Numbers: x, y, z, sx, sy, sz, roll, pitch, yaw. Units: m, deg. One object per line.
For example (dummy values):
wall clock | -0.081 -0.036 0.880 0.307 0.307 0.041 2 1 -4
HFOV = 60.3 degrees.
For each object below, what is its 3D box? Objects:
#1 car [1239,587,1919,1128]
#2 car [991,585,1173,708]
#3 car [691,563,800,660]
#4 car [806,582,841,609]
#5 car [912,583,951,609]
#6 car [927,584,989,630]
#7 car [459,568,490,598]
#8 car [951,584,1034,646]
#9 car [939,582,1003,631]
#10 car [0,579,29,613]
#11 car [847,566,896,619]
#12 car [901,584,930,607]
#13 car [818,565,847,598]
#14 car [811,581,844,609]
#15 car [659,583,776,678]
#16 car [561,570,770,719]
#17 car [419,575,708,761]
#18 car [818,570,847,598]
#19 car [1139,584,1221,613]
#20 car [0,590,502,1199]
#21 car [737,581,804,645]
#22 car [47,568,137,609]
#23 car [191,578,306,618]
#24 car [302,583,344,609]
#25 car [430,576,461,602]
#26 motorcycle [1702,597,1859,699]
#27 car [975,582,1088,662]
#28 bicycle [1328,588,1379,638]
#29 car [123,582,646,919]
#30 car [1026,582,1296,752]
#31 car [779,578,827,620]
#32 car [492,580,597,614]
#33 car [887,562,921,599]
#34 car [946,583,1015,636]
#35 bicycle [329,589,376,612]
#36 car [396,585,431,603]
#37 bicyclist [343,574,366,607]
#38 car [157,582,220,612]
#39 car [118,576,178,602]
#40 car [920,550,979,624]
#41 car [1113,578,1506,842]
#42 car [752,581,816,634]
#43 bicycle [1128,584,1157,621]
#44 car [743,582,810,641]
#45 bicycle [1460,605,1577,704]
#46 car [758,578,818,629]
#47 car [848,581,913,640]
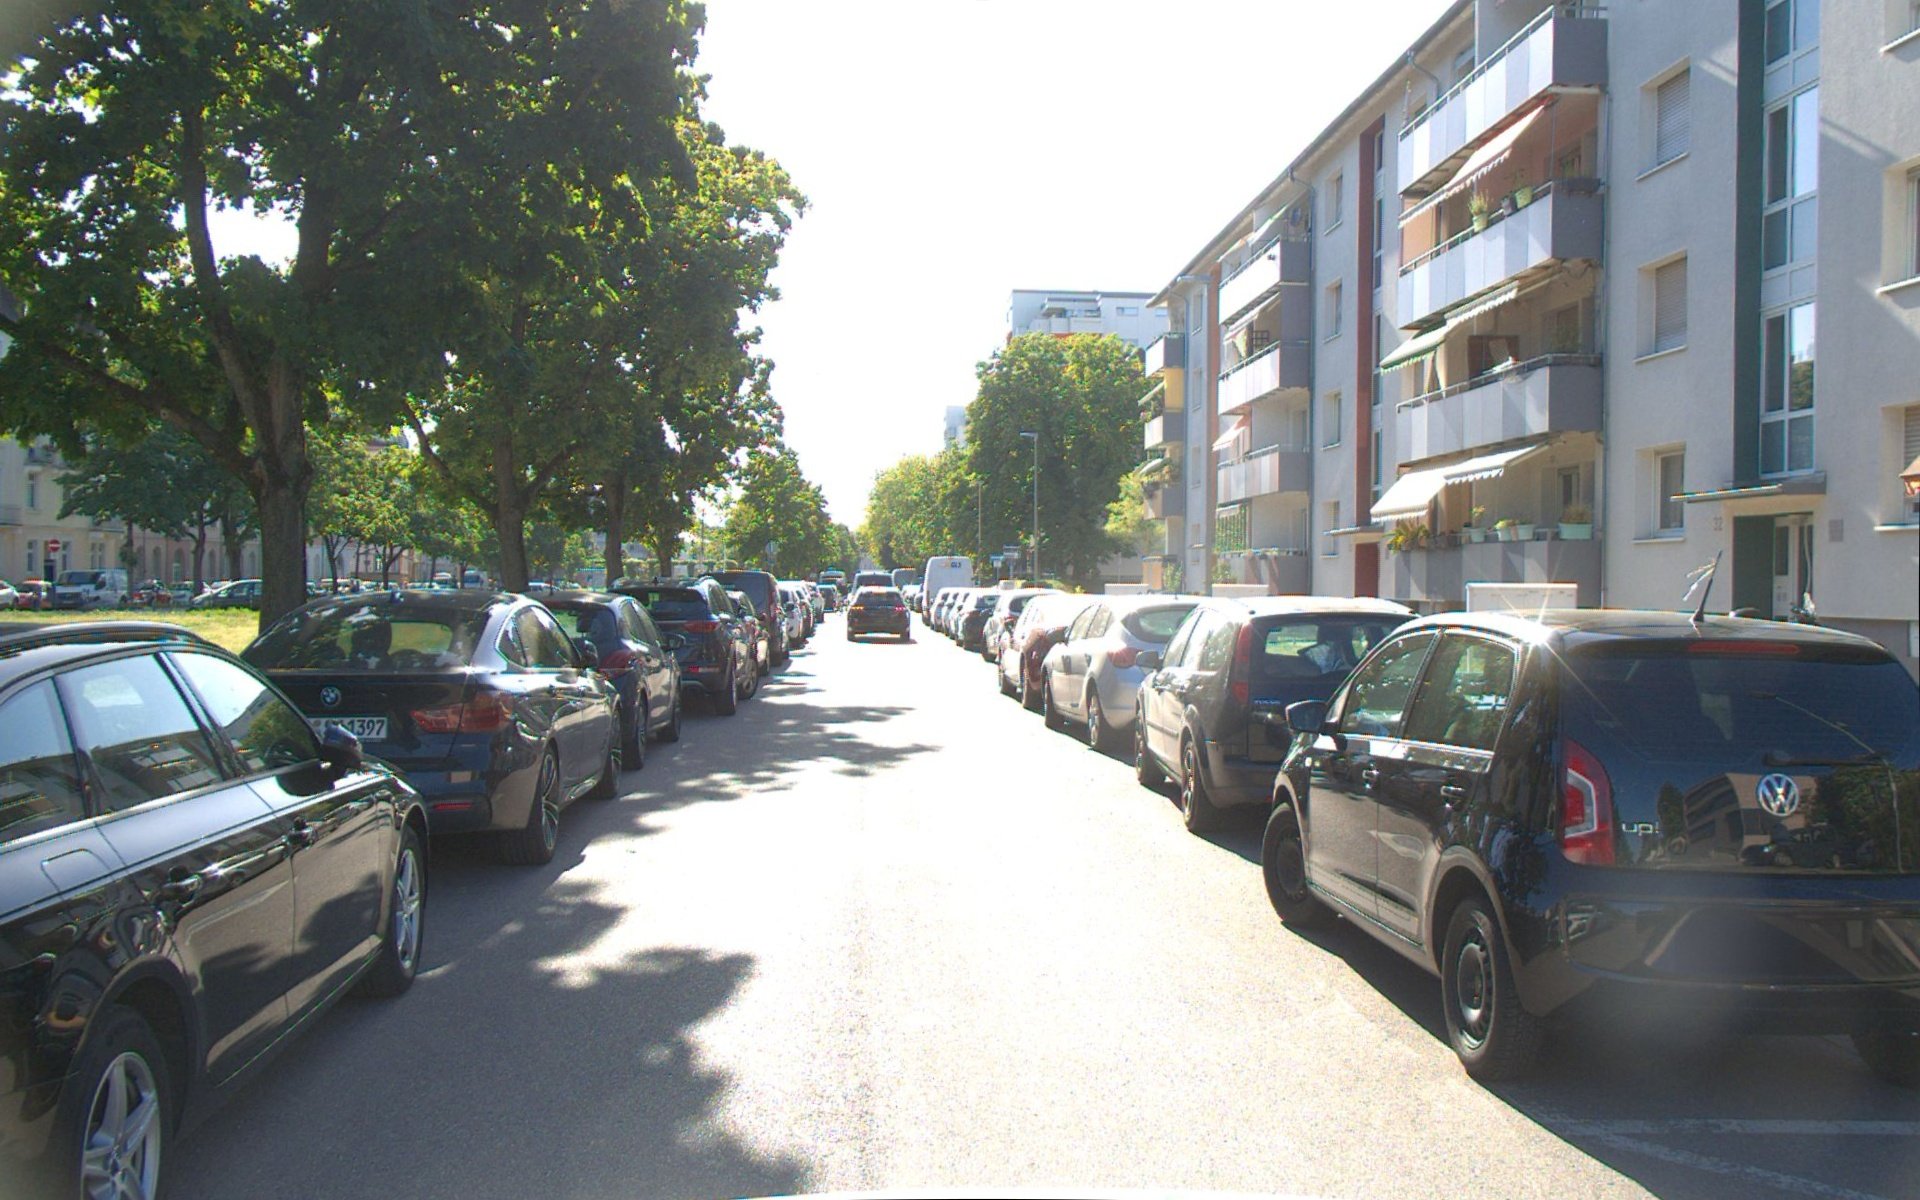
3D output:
car | 2.362 0.730 6.597 1.625 1.499 3.790 2 1 -3
car | 1.563 0.557 22.989 1.807 1.498 5.061 0 1 -4
car | -4.270 0.223 33.566 1.827 1.816 4.988 0 0 -3
car | -7.515 -0.241 91.560 1.713 1.449 3.914 -2 0 -2
car | -1.664 -0.266 95.673 2.083 1.361 4.504 -2 1 -2
car | -0.114 0.228 57.936 1.813 1.491 4.198 1 1 -5
car | -46.907 -1.671 160.028 1.878 2.792 5.618 0 1 -6
car | 0.780 0.346 42.478 1.666 1.460 4.467 -1 1 -5
car | 0.312 0.171 53.270 1.840 1.501 4.138 0 1 -3
car | -46.924 -0.212 79.772 1.956 1.614 4.445 0 1 -7
car | -3.499 -0.322 65.951 1.856 2.026 4.008 -1 1 -2
car | -2.738 -0.279 101.568 1.744 1.395 4.125 0 1 -2
car | -9.918 -1.452 128.579 2.056 2.540 4.125 0 1 -2
car | -7.672 -0.302 96.078 1.741 1.521 3.873 -2 0 -2
car | -3.961 0.455 27.500 1.507 1.453 4.085 0 1 -3
car | -3.629 0.476 21.244 1.985 1.654 4.755 -1 1 -2
car | -3.414 0.541 14.952 1.842 1.443 3.801 -1 0 -3
car | -9.380 -1.198 122.195 2.057 1.976 4.124 0 1 -3
car | 10.988 -0.079 82.726 3.813 1.454 1.656 0 1 -7
car | -2.668 0.720 4.681 1.800 1.477 4.963 0 0 -5
car | -4.807 0.293 42.360 1.555 1.518 3.682 -1 1 -5
car | -41.713 -0.544 79.618 2.041 1.905 5.092 0 1 -6
car | -29.715 -0.105 69.081 4.284 1.604 1.911 -1 1 -28
car | -43.636 -0.279 113.371 1.600 1.716 4.076 0 1 -6
car | -45.864 -0.963 147.628 1.661 2.252 5.002 0 0 -6
motorcycle | 9.968 0.550 20.174 0.572 1.171 2.031 0 0 -12
car | 1.406 0.406 33.925 1.714 1.525 3.856 0 1 -7
bicycle | 8.977 0.289 37.823 0.513 1.089 2.008 -2 1 -4
car | -3.214 0.678 10.454 1.955 1.542 5.152 -1 1 -6
car | 1.971 0.603 17.622 1.837 1.560 4.487 0 1 -7
car | -6.570 -0.056 69.536 1.721 1.676 4.285 -1 1 -2
car | -18.775 -0.136 74.709 4.284 1.433 1.904 0 3 -28
car | -4.184 -1.440 123.044 2.121 2.736 5.409 0 1 -6
car | 0.552 0.243 47.902 1.687 1.460 4.150 0 1 -3
bicycle | -27.257 0.029 74.204 1.952 1.034 0.653 0 0 -28
car | -45.386 -0.500 137.365 1.809 1.465 3.772 0 1 -3
bicyclist | -27.137 -0.418 74.173 0.864 1.386 0.619 2 6 -26
car | -42.077 -0.176 90.297 1.661 1.589 4.692 0 1 -6
car | -41.707 -0.576 85.005 1.661 1.301 3.522 0 1 -6
car | -0.474 -0.538 65.889 2.099 2.760 6.839 -1 1 -2
car | 2.282 0.625 12.048 1.734 1.556 4.556 0 1 -2
car | -5.485 0.207 51.945 1.837 1.546 4.466 -2 1 -5
bicycle | 6.089 0.101 55.296 0.584 1.197 2.012 0 -1 -4
car | -5.151 0.285 46.789 1.721 1.518 4.663 -1 1 -5
bicycle | 6.661 0.625 19.814 0.705 1.096 1.896 0 0 -2
car | -5.875 0.084 56.956 1.783 1.638 4.736 -1 1 -3
car | -2.233 0.275 46.857 1.744 1.558 3.998 1 1 -2
